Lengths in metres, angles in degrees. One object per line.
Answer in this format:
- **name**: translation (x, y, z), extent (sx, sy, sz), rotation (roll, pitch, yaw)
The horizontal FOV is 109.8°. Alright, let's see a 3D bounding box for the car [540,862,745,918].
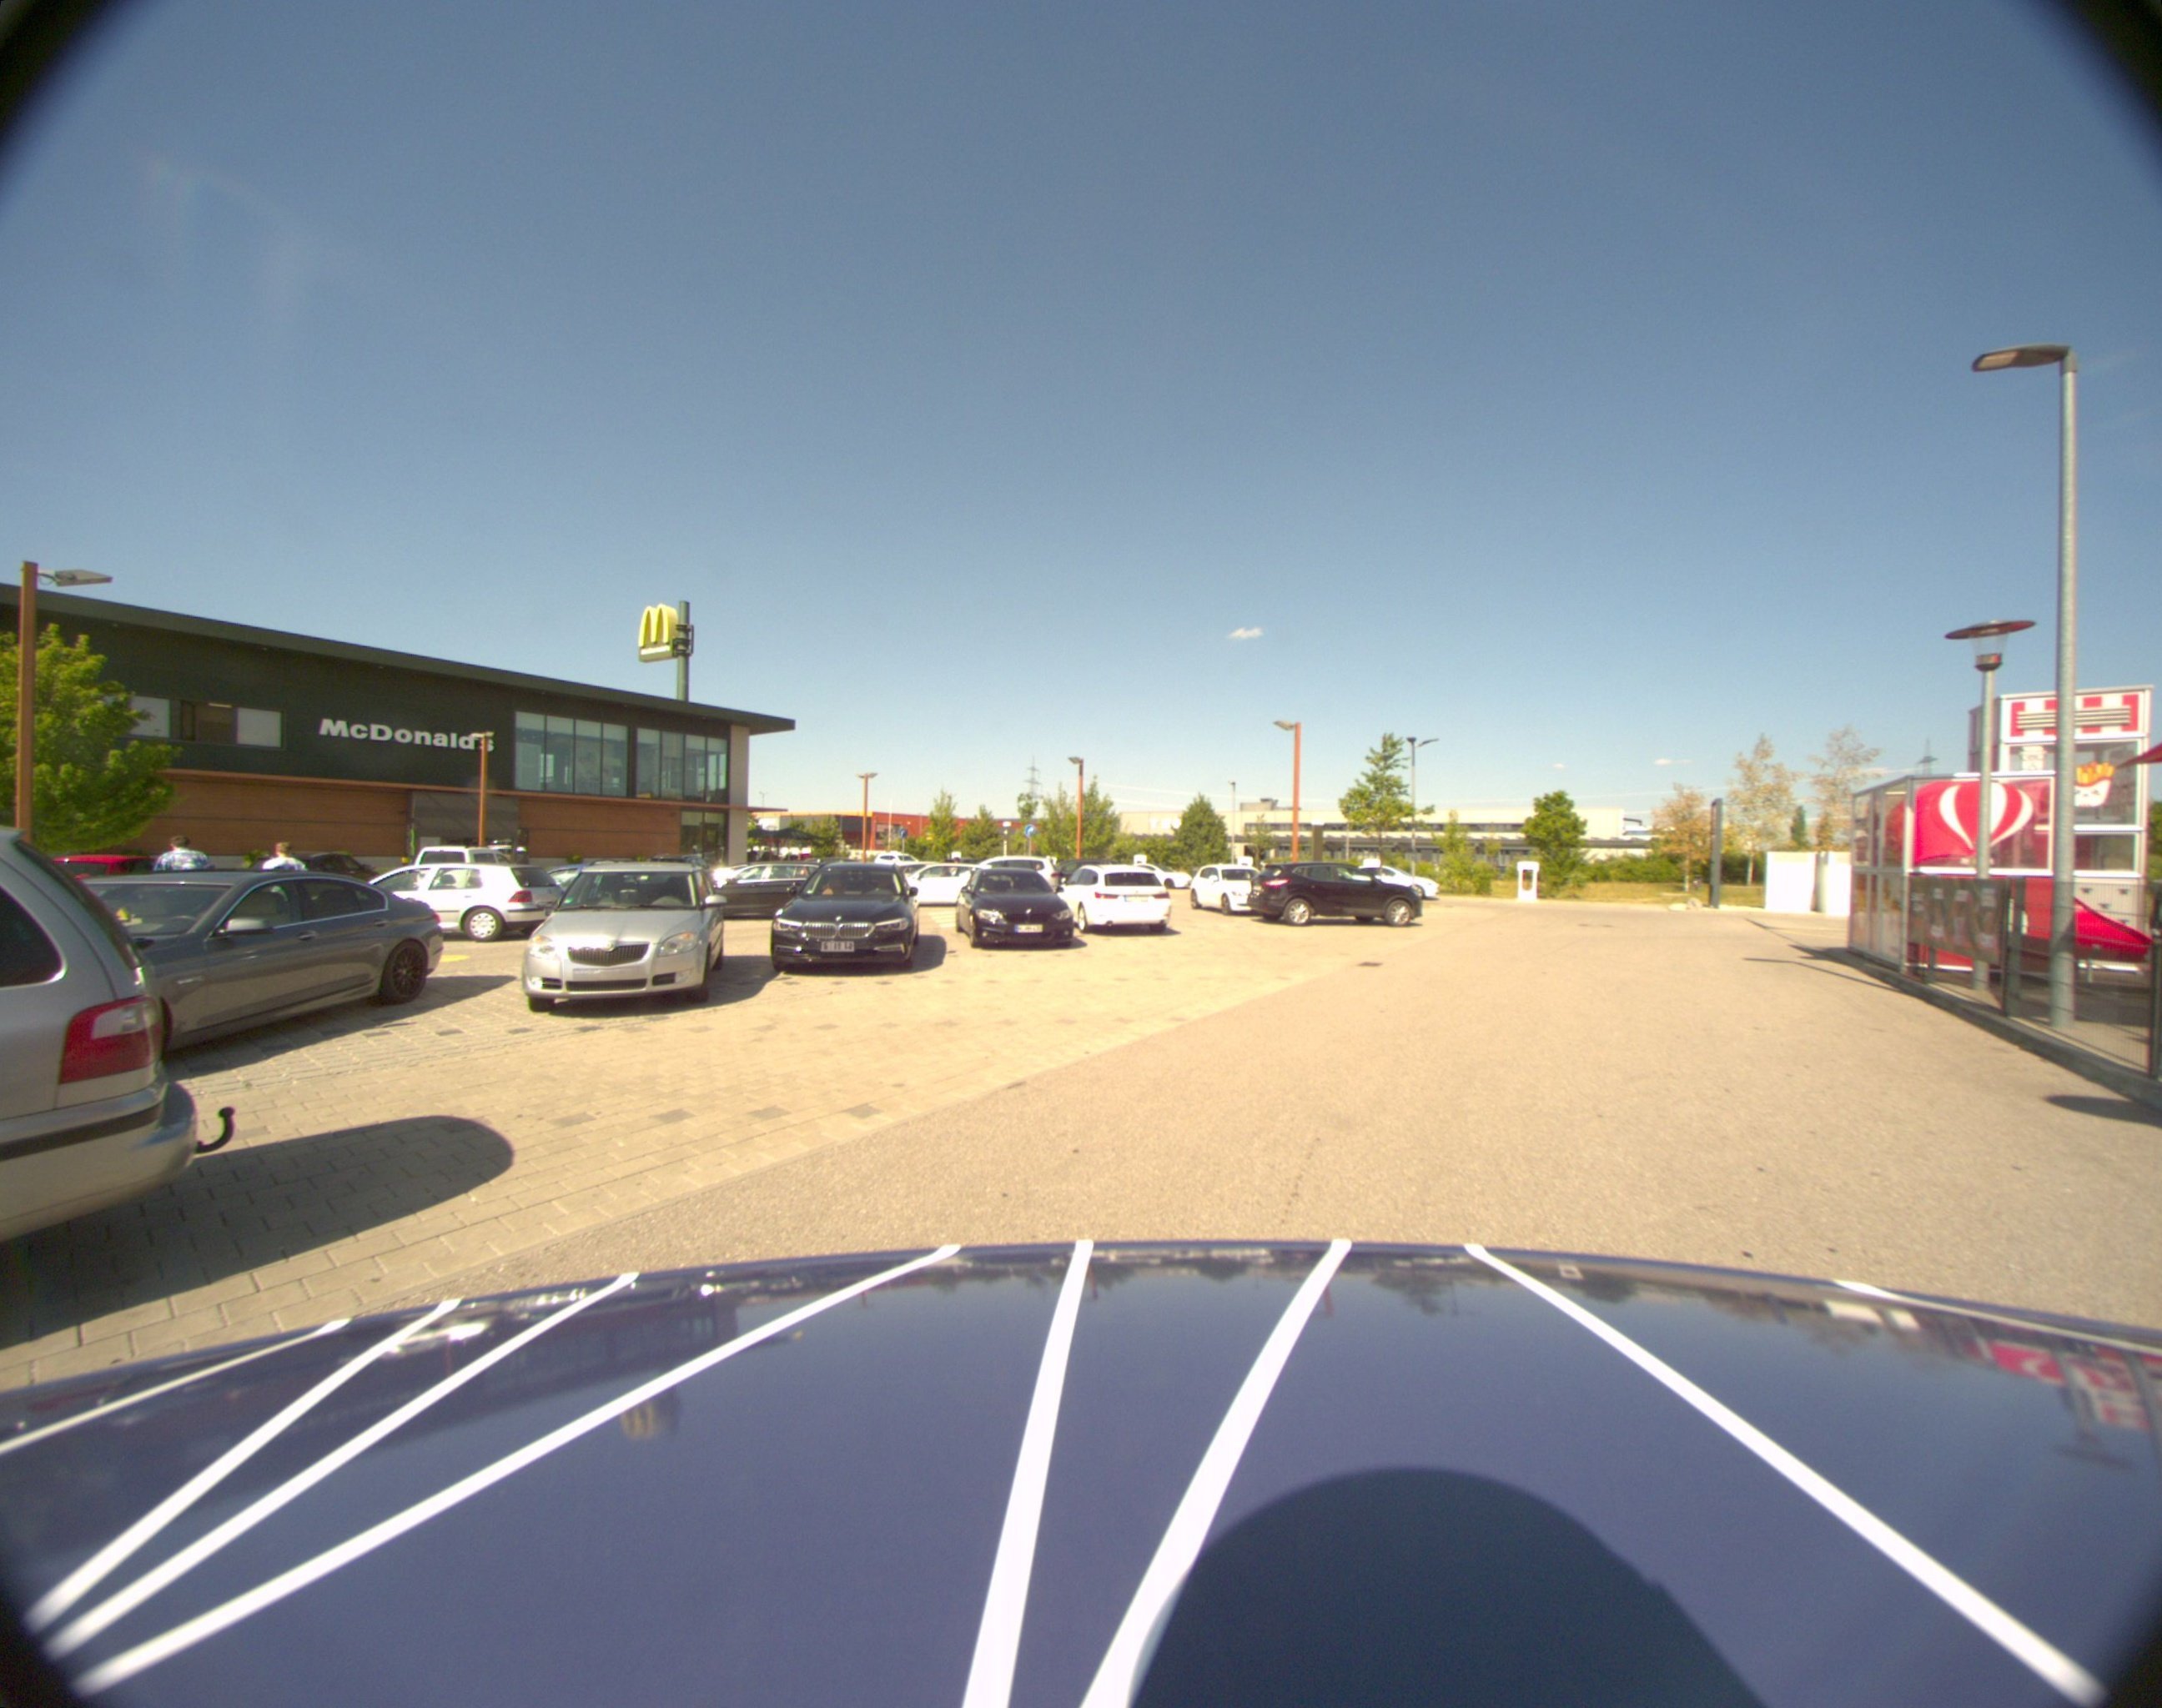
- **car**: translation (-12.268, 0.996, 21.554), extent (4.645, 1.478, 1.894), rotation (1, 1, -8)

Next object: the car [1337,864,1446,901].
- **car**: translation (14.939, 1.332, 36.662), extent (4.563, 1.583, 1.846), rotation (1, 0, 33)

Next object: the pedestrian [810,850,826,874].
- **pedestrian**: translation (-17.122, 0.517, 49.443), extent (0.720, 1.550, 0.703), rotation (1, 1, 37)

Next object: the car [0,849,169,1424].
- **car**: translation (-5.207, 0.852, 1.199), extent (1.827, 1.738, 4.693), rotation (1, 1, 36)

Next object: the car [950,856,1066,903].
- **car**: translation (-2.703, 0.920, 28.081), extent (4.115, 1.665, 1.812), rotation (1, 1, -8)

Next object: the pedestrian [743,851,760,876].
- **pedestrian**: translation (-20.410, 0.566, 47.081), extent (0.701, 1.550, 0.722), rotation (1, 0, 7)

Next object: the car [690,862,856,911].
- **car**: translation (-9.823, 1.029, 24.543), extent (4.645, 1.478, 1.894), rotation (1, 1, -8)

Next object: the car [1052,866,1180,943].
- **car**: translation (0.618, 1.036, 17.306), extent (1.837, 1.451, 4.579), rotation (0, 0, -12)

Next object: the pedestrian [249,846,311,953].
- **pedestrian**: translation (-13.417, 0.744, 12.739), extent (0.553, 1.758, 0.466), rotation (0, 0, -16)

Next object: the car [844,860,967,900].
- **car**: translation (-6.919, 1.026, 30.425), extent (4.645, 1.478, 1.894), rotation (1, 1, -8)

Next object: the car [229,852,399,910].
- **car**: translation (-22.668, 0.724, 22.692), extent (1.715, 1.506, 3.945), rotation (-1, 1, -14)

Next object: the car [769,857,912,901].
- **car**: translation (-8.546, 0.896, 27.369), extent (4.645, 1.478, 1.894), rotation (1, 1, -8)

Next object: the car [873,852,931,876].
- **car**: translation (-11.947, 0.636, 50.535), extent (3.872, 1.552, 1.768), rotation (0, 0, 40)

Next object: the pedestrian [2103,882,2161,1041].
- **pedestrian**: translation (9.896, 0.963, 6.866), extent (0.663, 1.379, 0.809), rotation (1, 0, 45)

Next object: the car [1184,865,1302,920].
- **car**: translation (4.752, 1.083, 22.994), extent (1.976, 1.451, 4.203), rotation (0, 0, -12)

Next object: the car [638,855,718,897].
- **car**: translation (-16.392, 0.852, 31.140), extent (1.717, 1.603, 4.032), rotation (0, 0, -10)

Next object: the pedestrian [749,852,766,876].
- **pedestrian**: translation (-20.842, 0.620, 48.966), extent (0.701, 1.550, 0.722), rotation (1, 0, 7)

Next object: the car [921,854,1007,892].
- **car**: translation (-5.627, 0.913, 36.923), extent (3.956, 1.764, 1.653), rotation (0, 0, -3)

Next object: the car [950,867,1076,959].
- **car**: translation (-1.489, 1.008, 14.813), extent (1.837, 1.451, 4.365), rotation (0, 0, -13)

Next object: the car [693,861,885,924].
- **car**: translation (-7.330, 0.962, 19.469), extent (4.280, 1.478, 1.812), rotation (1, 1, -8)

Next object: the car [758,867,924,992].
- **car**: translation (-3.475, 0.977, 11.877), extent (1.976, 1.478, 4.778), rotation (0, 0, -12)

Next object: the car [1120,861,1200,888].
- **car**: translation (4.625, 1.162, 44.645), extent (4.320, 1.470, 1.846), rotation (1, 0, 37)

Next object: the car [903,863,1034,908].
- **car**: translation (-3.699, 1.027, 25.200), extent (4.115, 1.405, 1.812), rotation (1, 1, -8)

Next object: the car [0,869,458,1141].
- **car**: translation (-7.715, 0.930, 6.209), extent (1.976, 1.517, 4.841), rotation (0, 0, -11)

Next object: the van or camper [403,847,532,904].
- **van or camper**: translation (-20.512, 0.683, 25.619), extent (1.712, 1.764, 4.024), rotation (0, 0, -11)

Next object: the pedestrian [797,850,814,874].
- **pedestrian**: translation (-17.522, 0.509, 48.301), extent (0.720, 1.550, 0.703), rotation (1, 1, 37)

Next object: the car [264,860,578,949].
- **car**: translation (-12.010, 0.884, 14.099), extent (4.115, 1.484, 1.710), rotation (1, 1, -8)

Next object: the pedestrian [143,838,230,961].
- **pedestrian**: translation (-14.059, 0.687, 11.946), extent (0.768, 1.839, 0.836), rotation (1, 0, 36)

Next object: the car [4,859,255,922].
- **car**: translation (-24.741, 0.871, 20.075), extent (1.964, 1.457, 4.461), rotation (0, 0, -17)

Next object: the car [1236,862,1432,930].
- **car**: translation (6.336, 1.042, 19.274), extent (4.303, 1.581, 1.856), rotation (1, 0, -7)

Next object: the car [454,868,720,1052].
- **car**: translation (-5.371, 0.961, 8.887), extent (1.978, 1.517, 4.198), rotation (0, 0, -24)

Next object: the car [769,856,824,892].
- **car**: translation (-13.332, 0.897, 35.804), extent (1.717, 1.603, 4.032), rotation (0, 0, -10)

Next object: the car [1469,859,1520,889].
- **car**: translation (26.046, 1.227, 47.832), extent (1.913, 1.739, 4.266), rotation (1, 0, 41)

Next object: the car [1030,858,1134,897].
- **car**: translation (0.007, 0.956, 31.101), extent (4.001, 1.543, 1.753), rotation (1, 0, -11)

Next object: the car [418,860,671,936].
- **car**: translation (-11.511, 0.911, 16.585), extent (4.115, 1.506, 1.812), rotation (1, 1, -8)
